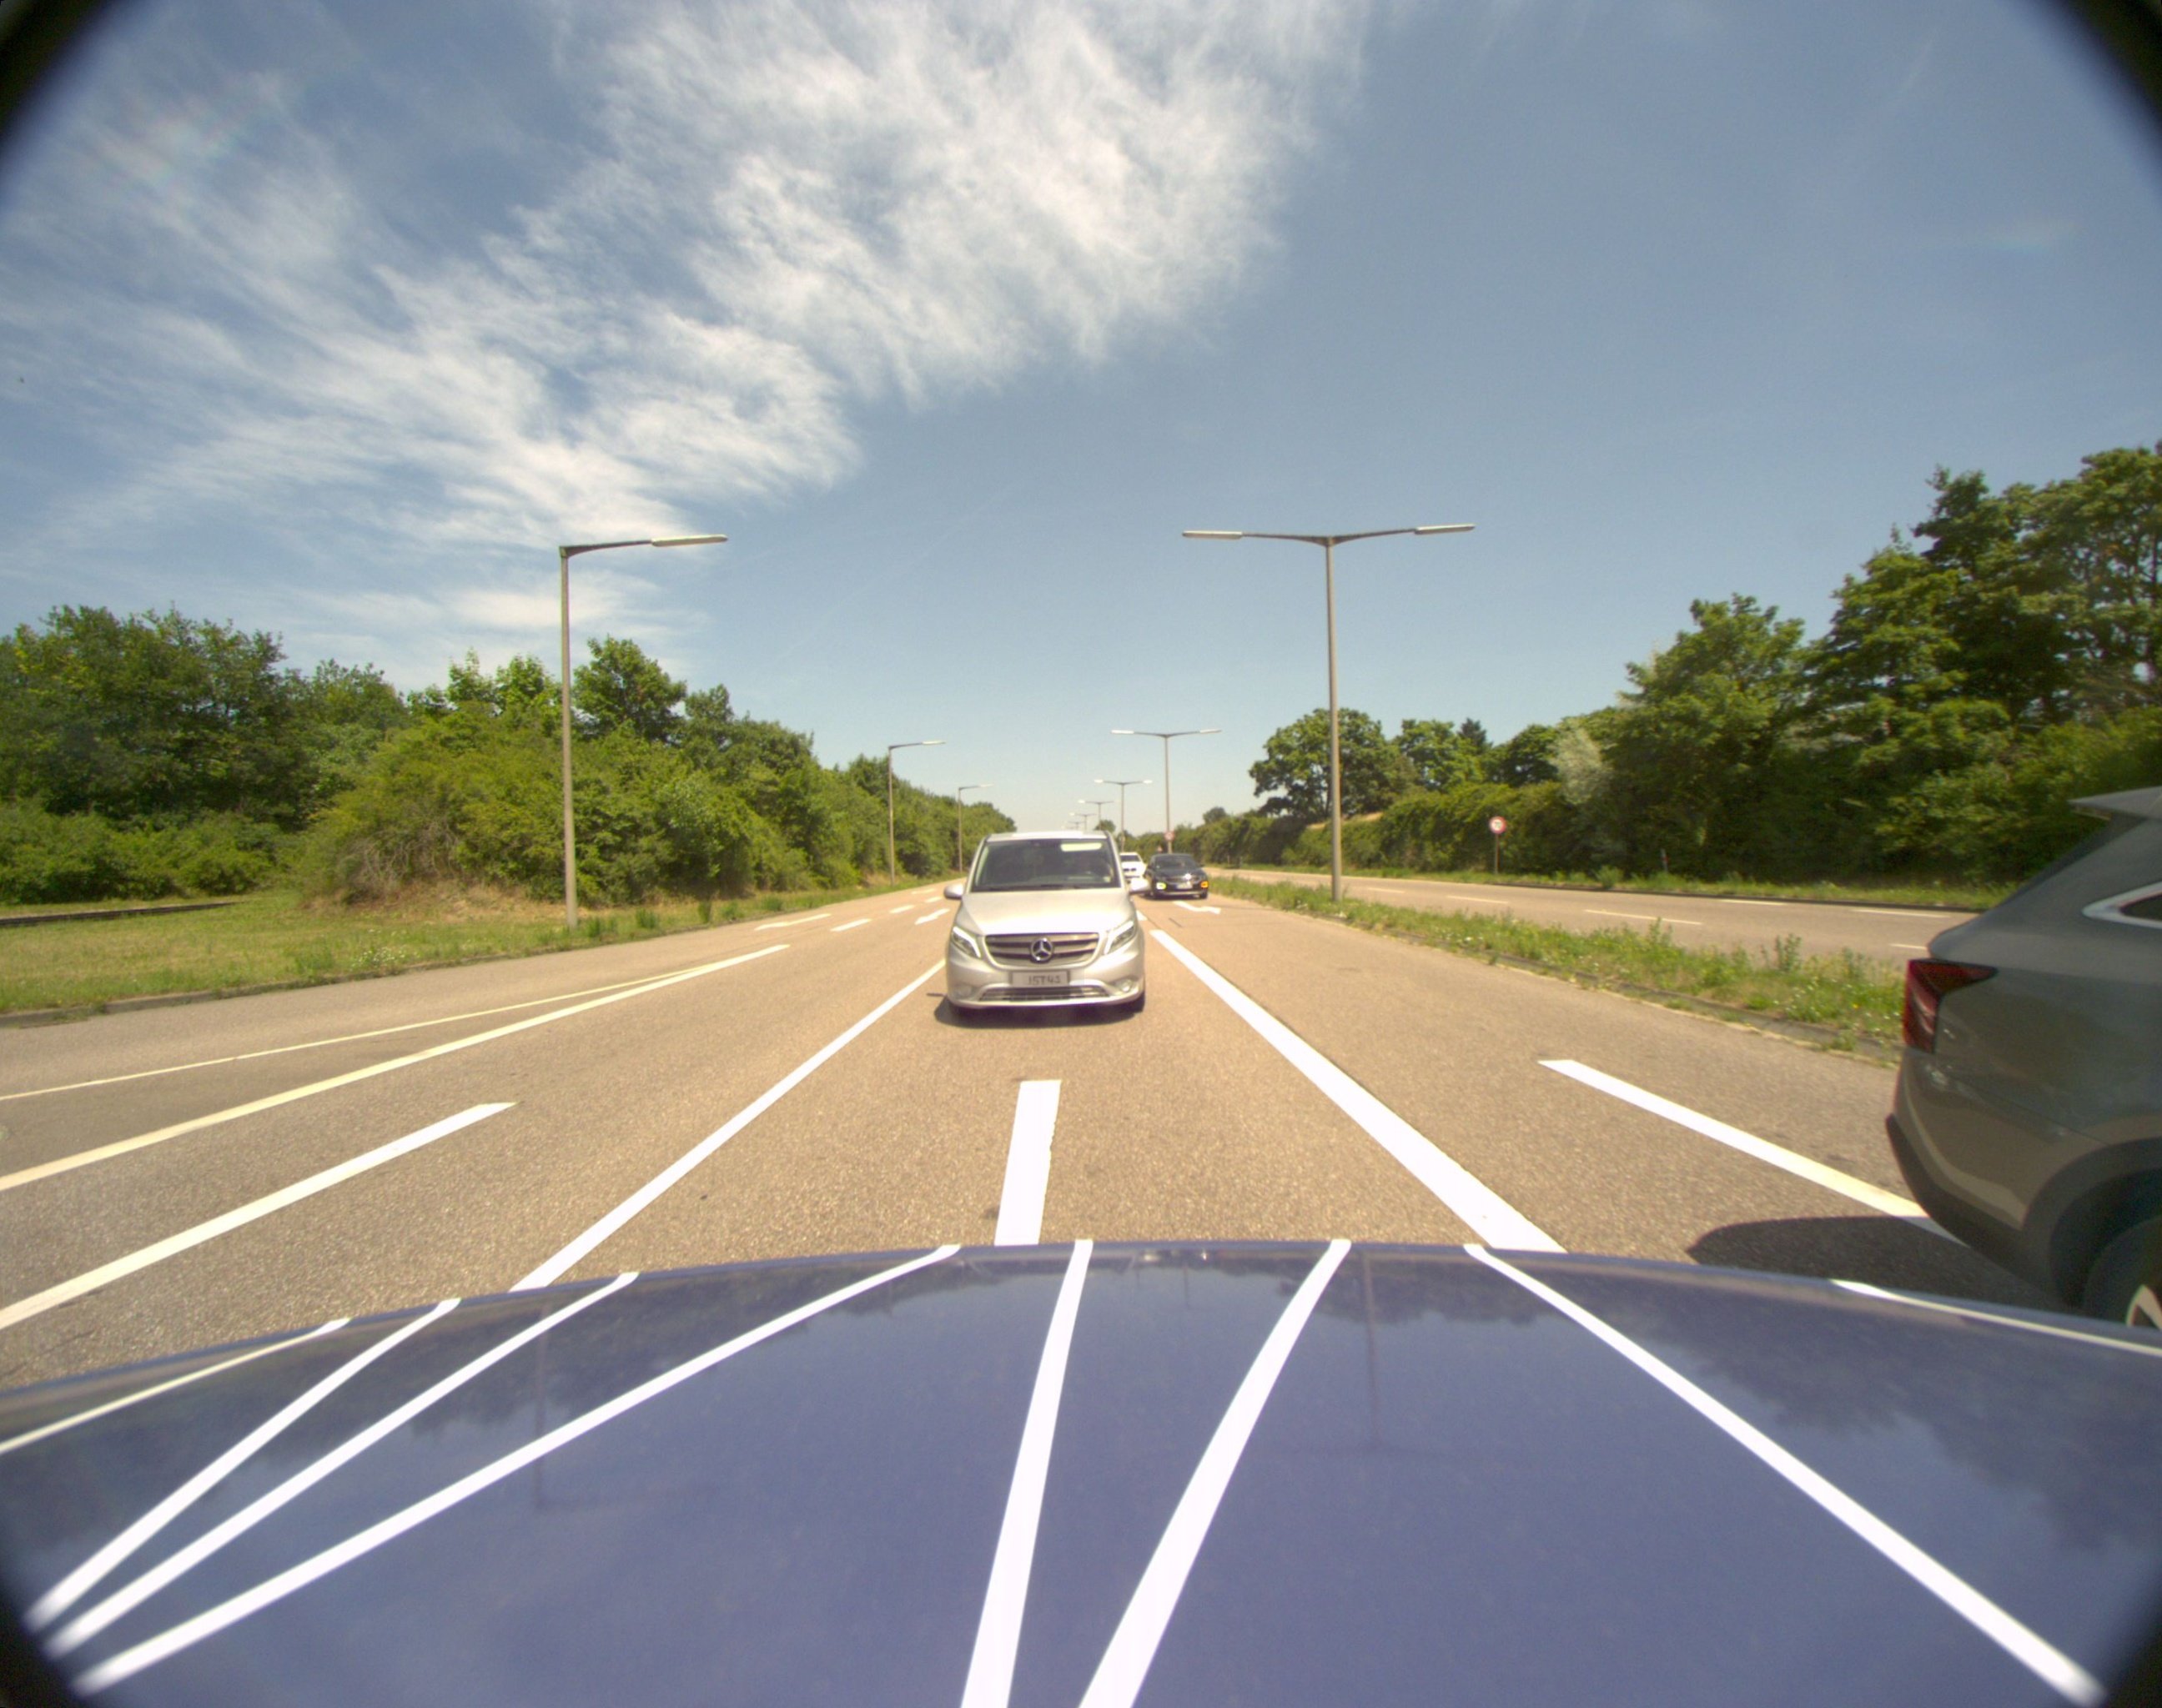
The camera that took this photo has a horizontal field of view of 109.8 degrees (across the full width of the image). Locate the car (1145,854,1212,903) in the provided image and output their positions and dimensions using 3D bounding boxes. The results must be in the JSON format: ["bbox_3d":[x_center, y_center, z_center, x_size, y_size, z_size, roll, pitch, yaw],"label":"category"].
[{"bbox_3d":[3.259,0.784,26.118,1.753,1.491,4.000,-2,0,0],"label":"car"}]

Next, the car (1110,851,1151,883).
[{"bbox_3d":[2.693,0.678,42.236,1.921,1.661,4.001,-1,1,-1],"label":"car"}]

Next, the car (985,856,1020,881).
[{"bbox_3d":[-5.268,0.949,51.369,1.722,1.587,4.001,-1,0,2],"label":"car"}]

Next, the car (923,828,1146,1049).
[{"bbox_3d":[-0.343,0.724,9.375,1.876,1.866,5.732,-1,0,1],"label":"car"}]
